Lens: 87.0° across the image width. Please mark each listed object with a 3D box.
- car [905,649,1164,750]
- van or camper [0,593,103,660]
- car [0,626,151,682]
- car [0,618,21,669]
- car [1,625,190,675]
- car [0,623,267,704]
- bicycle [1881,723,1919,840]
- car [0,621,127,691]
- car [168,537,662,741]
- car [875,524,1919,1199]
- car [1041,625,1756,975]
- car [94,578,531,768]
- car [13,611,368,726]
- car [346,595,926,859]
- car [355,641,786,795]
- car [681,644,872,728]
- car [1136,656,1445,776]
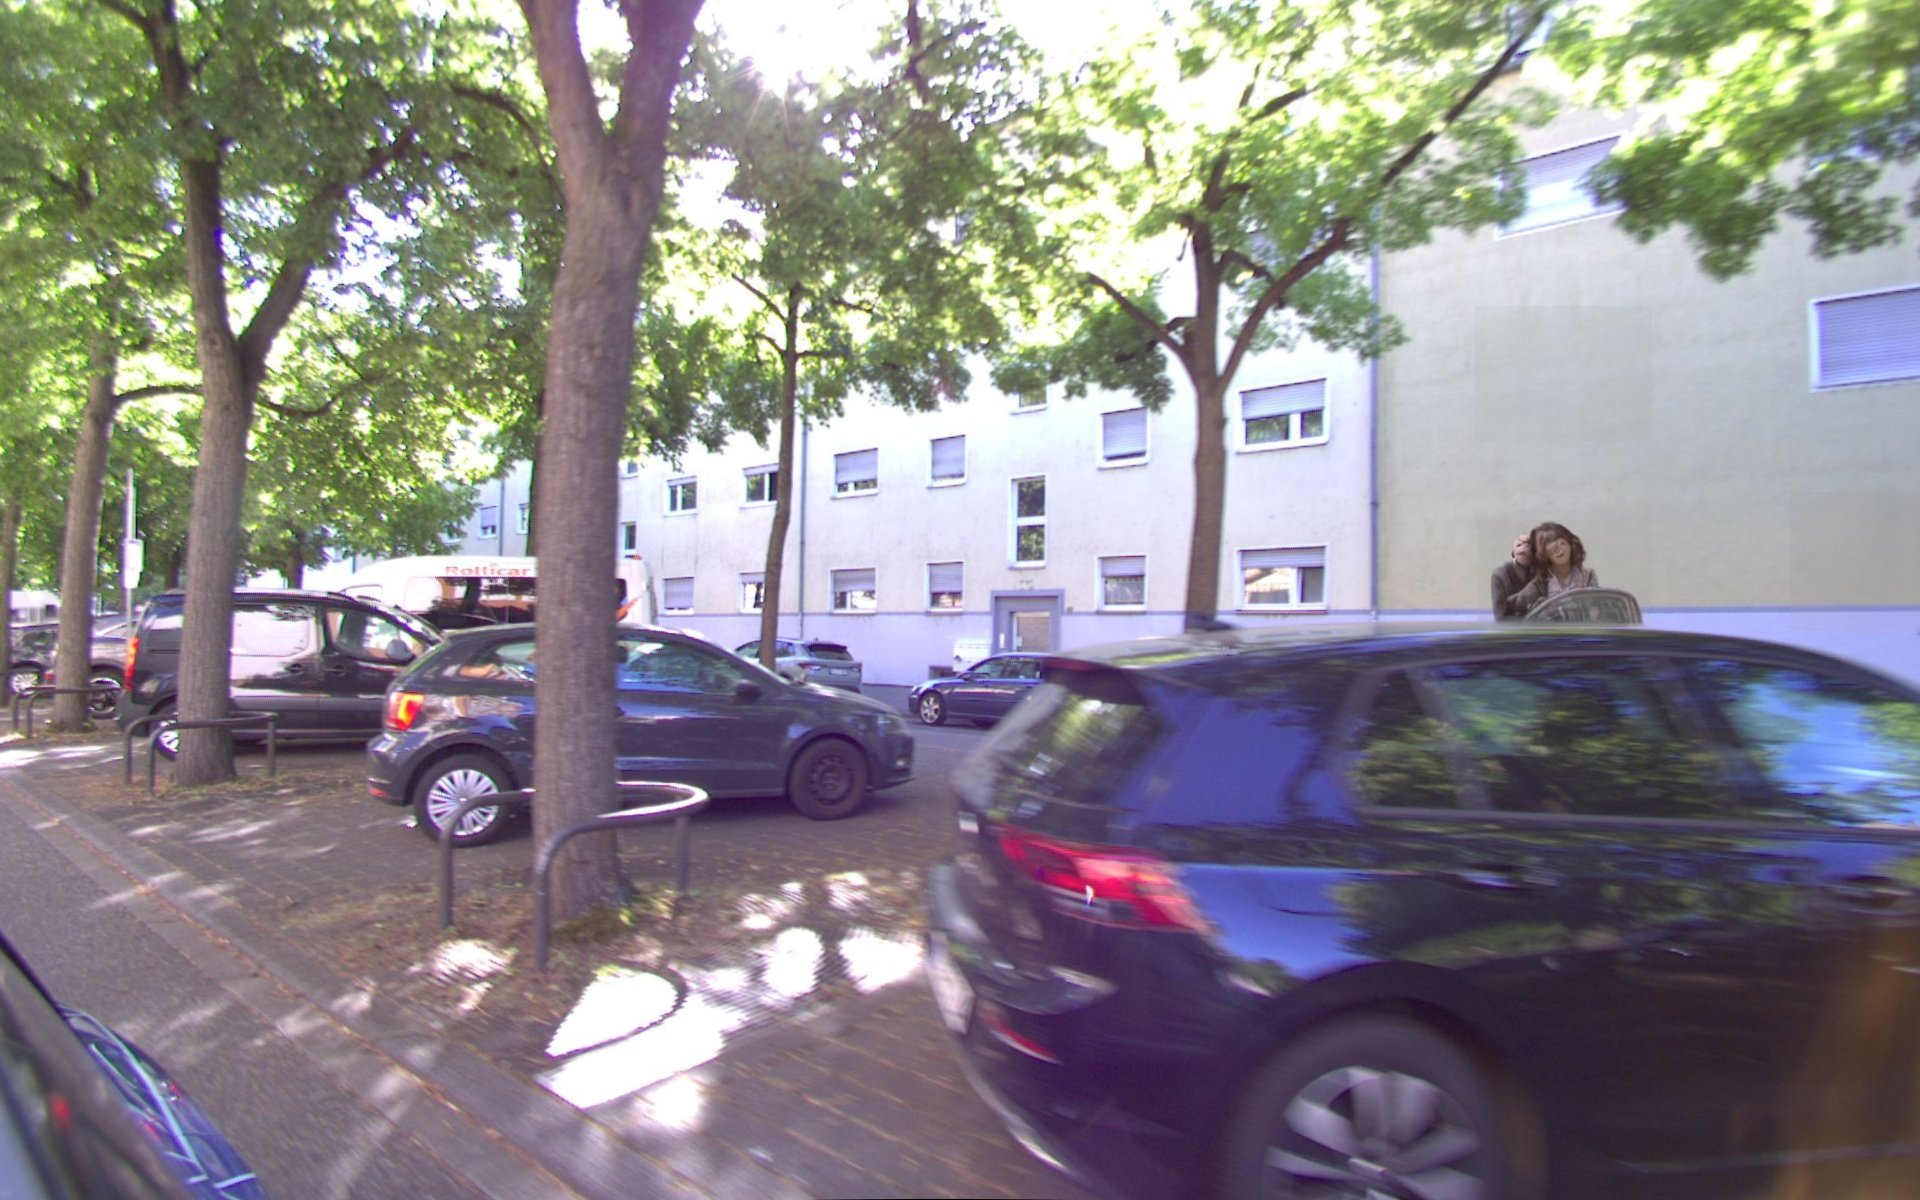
[{"bbox_3d":[1.265,1.710,18.561,4.587,1.528,1.754,-2,-1,40],"label":"car"},{"bbox_3d":[-41.707,1.169,44.077,6.197,2.846,2.415,0,-1,-21],"label":"van or camper"},{"bbox_3d":[-25.981,1.499,28.574,4.550,1.497,1.766,0,-1,-15],"label":"car"},{"bbox_3d":[-33.388,1.413,32.706,4.018,1.665,1.869,0,-1,-23],"label":"car"},{"bbox_3d":[-26.779,1.538,31.538,4.044,1.484,1.877,1,-2,-21],"label":"car"},{"bbox_3d":[-16.492,1.238,20.203,4.038,1.492,1.737,1,-2,-19],"label":"car"},{"bbox_3d":[9.649,1.703,9.147,1.913,1.042,0.594,-2,-4,41],"label":"bicycle"},{"bbox_3d":[-22.669,1.325,24.416,3.630,1.608,1.778,0,-1,-25],"label":"car"},{"bbox_3d":[-7.615,0.652,15.066,5.982,2.643,2.462,2,-3,-15],"label":"car"},{"bbox_3d":[1.875,0.724,2.965,4.088,1.566,1.836,1,-2,-8],"label":"car"},{"bbox_3d":[2.735,0.952,6.308,4.031,1.477,1.873,-1,0,-25],"label":"car"},{"bbox_3d":[-7.097,0.799,11.576,3.786,1.903,1.849,1,-3,-15],"label":"car"},{"bbox_3d":[-12.060,1.026,16.187,4.203,1.654,1.660,0,-1,-17],"label":"car"},{"bbox_3d":[-2.260,0.822,7.535,3.673,1.594,1.641,1,-2,-20],"label":"car"},{"bbox_3d":[-3.582,1.055,9.684,3.506,1.257,1.663,2,-3,-20],"label":"car"},{"bbox_3d":[-4.267,1.902,23.198,4.553,1.736,1.724,-2,-4,39],"label":"car"},{"bbox_3d":[4.950,1.644,15.409,4.140,1.506,1.756,-1,-3,38],"label":"car"}]
